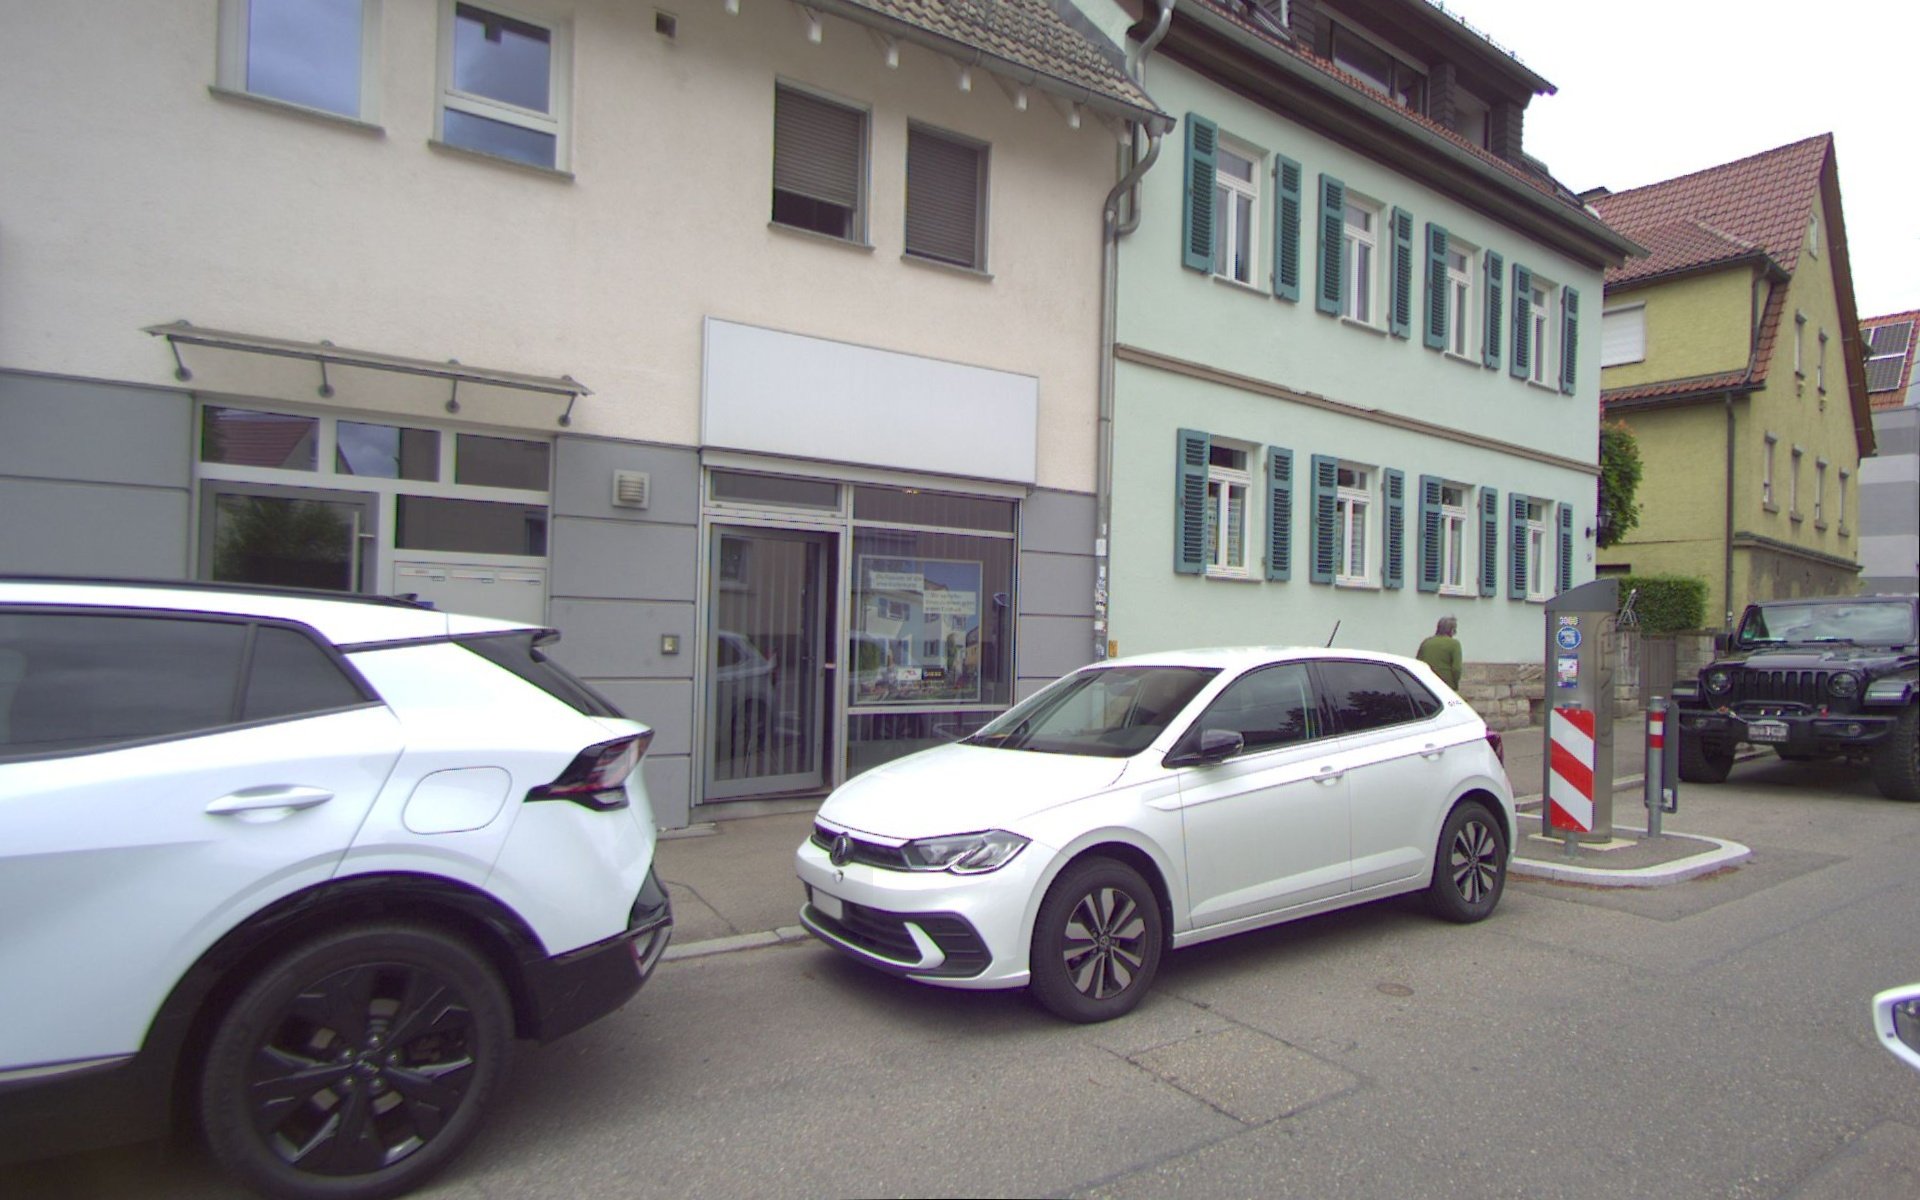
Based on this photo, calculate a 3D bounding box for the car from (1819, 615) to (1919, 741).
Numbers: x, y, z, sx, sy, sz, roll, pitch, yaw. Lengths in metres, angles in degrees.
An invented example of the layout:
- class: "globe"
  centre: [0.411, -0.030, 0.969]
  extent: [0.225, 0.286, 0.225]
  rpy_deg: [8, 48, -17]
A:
- class: "car"
  centre: [14.628, 1.068, 14.978]
  extent: [4.484, 1.640, 1.883]
  rpy_deg: [0, -1, -38]

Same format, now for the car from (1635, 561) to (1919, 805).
- class: "car"
  centre: [9.241, 0.768, 10.556]
  extent: [4.623, 2.040, 1.981]
  rpy_deg: [1, -3, -35]

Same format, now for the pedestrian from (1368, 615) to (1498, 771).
- class: "pedestrian"
  centre: [4.973, 0.944, 10.566]
  extent: [0.965, 1.520, 0.801]
  rpy_deg: [2, 1, -32]

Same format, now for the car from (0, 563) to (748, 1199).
- class: "car"
  centre: [-3.233, 0.730, 2.829]
  extent: [4.799, 1.655, 1.989]
  rpy_deg: [1, 0, -30]

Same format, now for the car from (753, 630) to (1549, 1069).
- class: "car"
  centre: [1.090, 0.925, 5.371]
  extent: [3.874, 1.455, 1.987]
  rpy_deg: [1, 0, -32]
